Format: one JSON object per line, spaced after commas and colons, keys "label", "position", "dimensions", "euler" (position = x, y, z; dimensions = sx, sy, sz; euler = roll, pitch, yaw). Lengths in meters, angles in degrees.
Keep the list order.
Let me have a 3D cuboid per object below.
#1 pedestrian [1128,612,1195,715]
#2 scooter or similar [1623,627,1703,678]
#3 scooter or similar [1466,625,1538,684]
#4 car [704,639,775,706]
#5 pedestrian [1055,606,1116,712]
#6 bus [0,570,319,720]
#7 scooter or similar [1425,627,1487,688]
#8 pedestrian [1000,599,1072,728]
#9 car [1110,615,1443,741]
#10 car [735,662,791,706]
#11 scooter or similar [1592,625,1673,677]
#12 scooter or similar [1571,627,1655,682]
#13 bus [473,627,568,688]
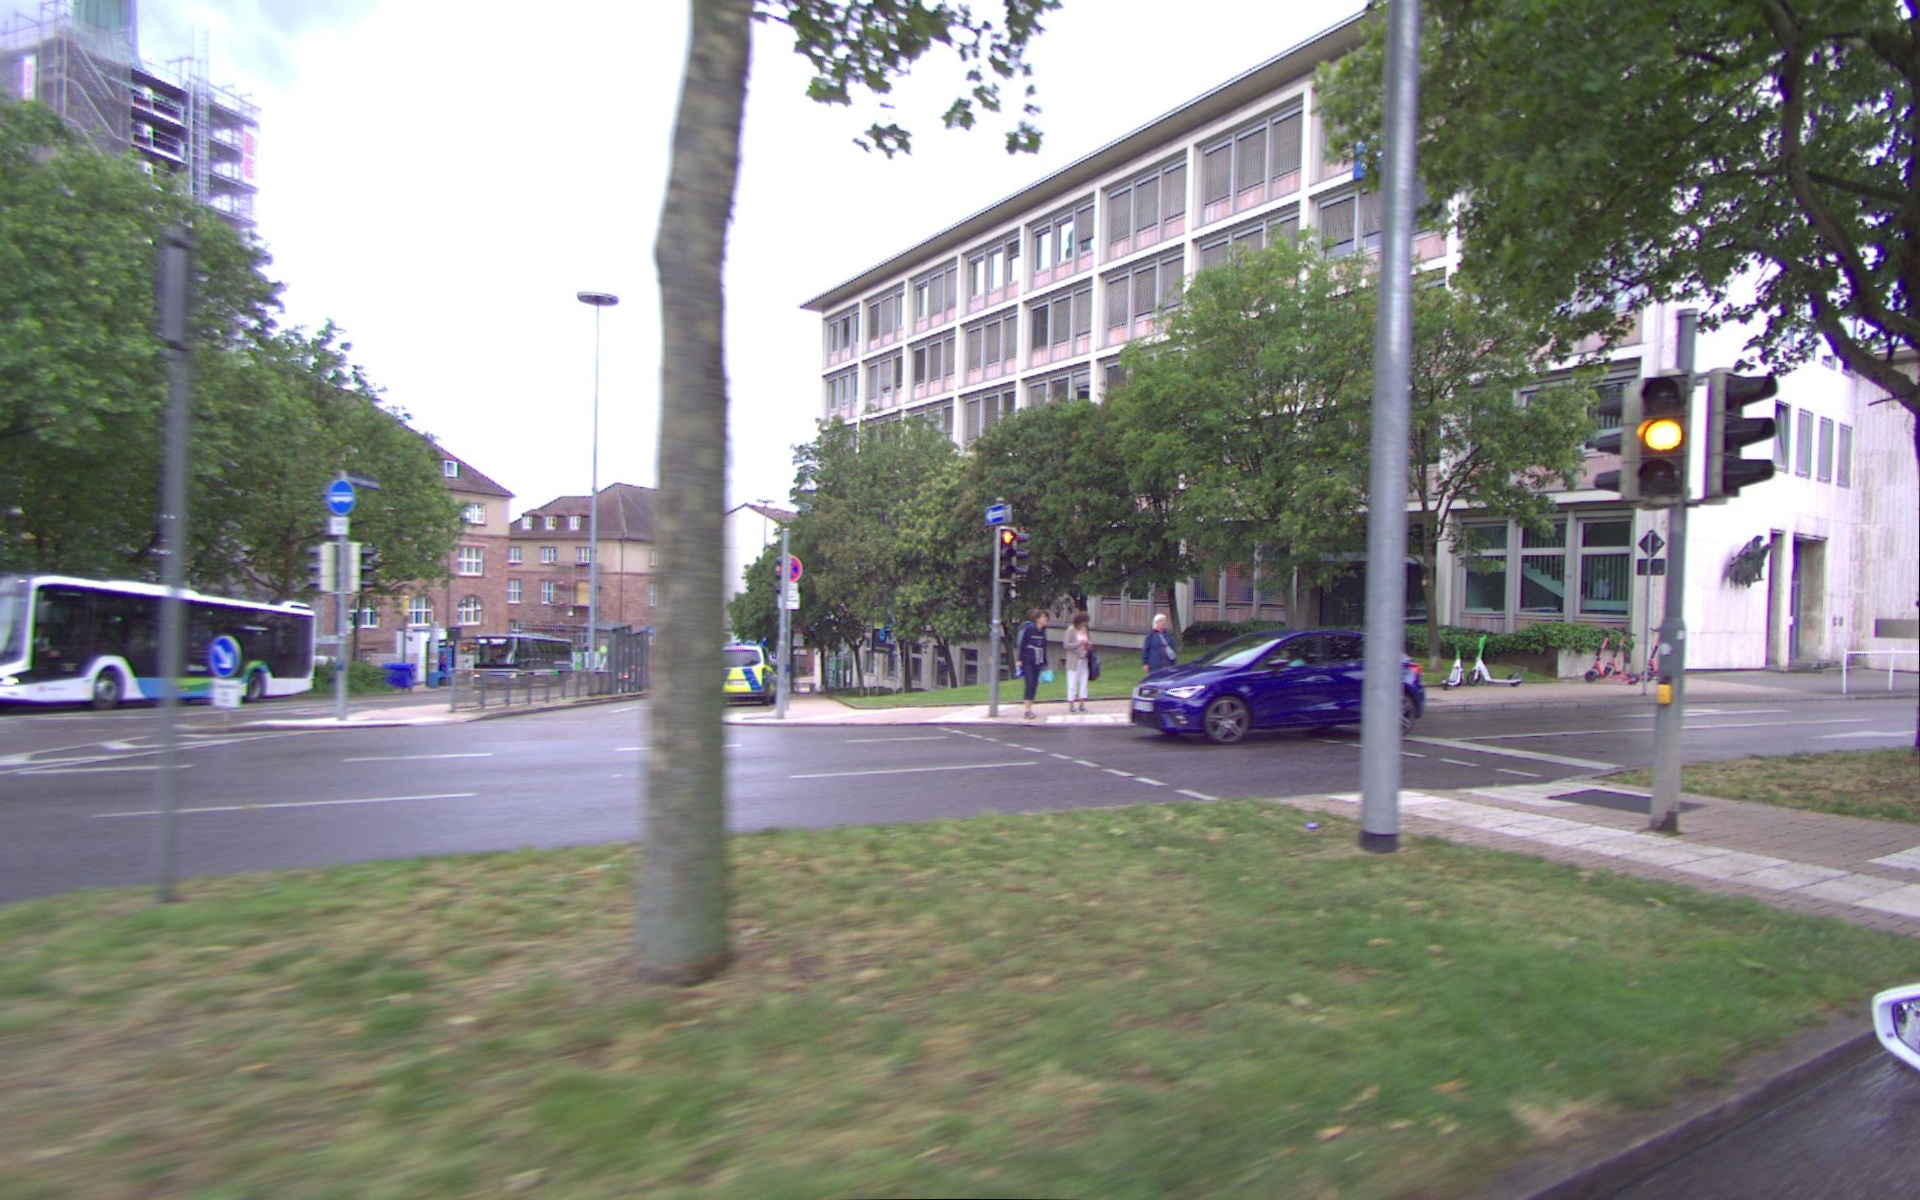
{"label": "pedestrian", "position": [3.292, 1.019, 16.427], "dimensions": [0.918, 1.624, 0.647], "euler": [1, -1, -42]}
{"label": "scooter or similar", "position": [17.165, 1.271, 24.534], "dimensions": [1.497, 1.180, 0.609], "euler": [1, 0, 3]}
{"label": "scooter or similar", "position": [11.549, 1.153, 21.398], "dimensions": [1.554, 1.208, 0.567], "euler": [1, 0, -28]}
{"label": "car", "position": [-7.034, 2.296, 32.478], "dimensions": [1.964, 1.990, 4.582], "euler": [1, -3, -9]}
{"label": "pedestrian", "position": [2.118, 0.967, 16.930], "dimensions": [0.790, 1.733, 0.648], "euler": [1, -1, -39]}
{"label": "bus", "position": [-21.141, 1.258, 26.178], "dimensions": [2.837, 3.058, 11.959], "euler": [1, -4, -9]}
{"label": "scooter or similar", "position": [10.139, 1.158, 20.520], "dimensions": [1.487, 1.183, 0.485], "euler": [1, 0, -35]}
{"label": "pedestrian", "position": [1.255, 1.031, 16.735], "dimensions": [0.861, 2.073, 0.933], "euler": [1, -1, -23]}
{"label": "car", "position": [4.281, 1.011, 13.758], "dimensions": [4.036, 1.528, 1.841], "euler": [1, -2, -17]}
{"label": "car", "position": [-7.546, 3.207, 38.834], "dimensions": [1.964, 1.438, 4.582], "euler": [1, -2, -9]}
{"label": "scooter or similar", "position": [16.007, 1.206, 23.925], "dimensions": [1.497, 1.208, 0.609], "euler": [1, 0, 3]}
{"label": "scooter or similar", "position": [14.993, 1.248, 23.077], "dimensions": [1.497, 1.208, 0.609], "euler": [1, 0, 3]}
{"label": "bus", "position": [-26.999, 3.388, 62.335], "dimensions": [2.838, 3.237, 11.948], "euler": [1, -1, -11]}
